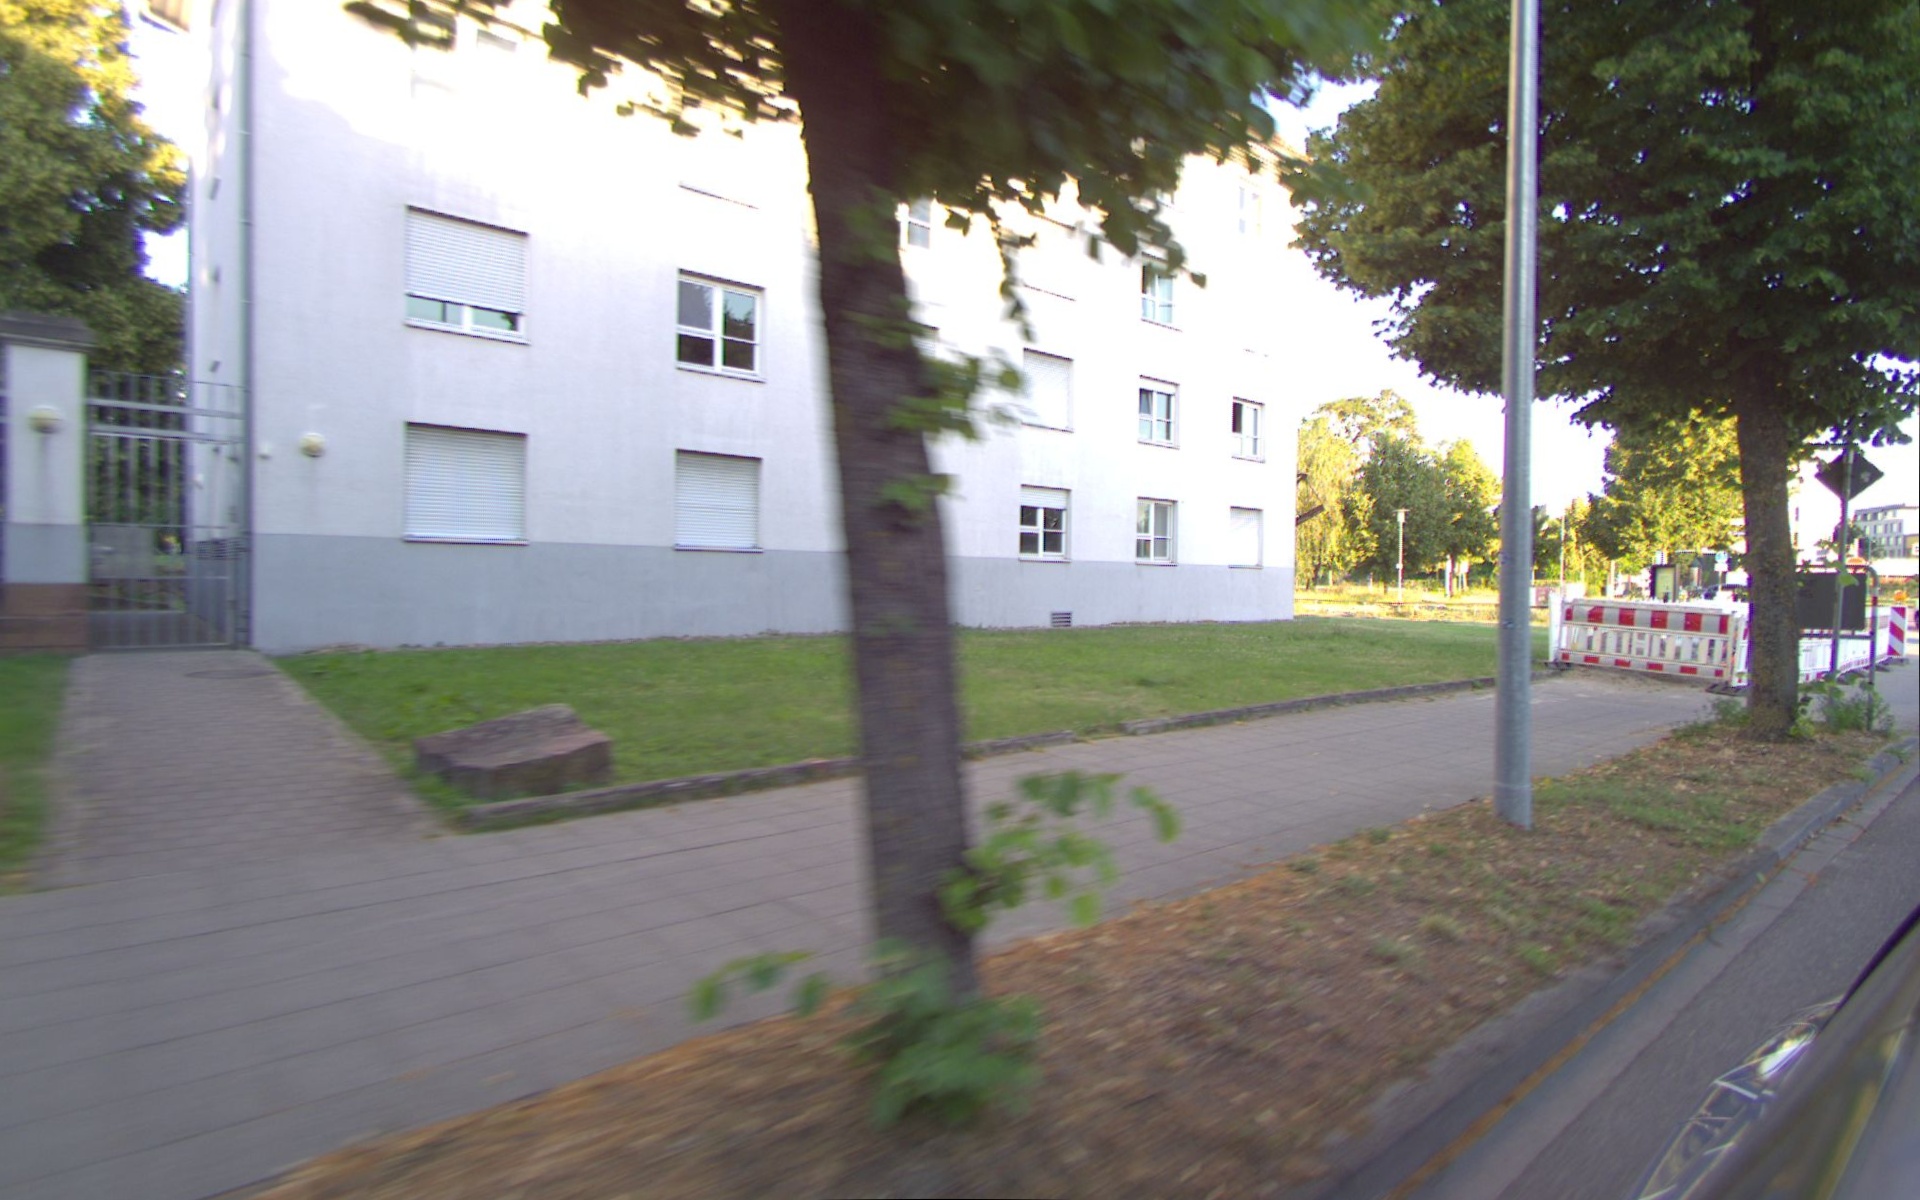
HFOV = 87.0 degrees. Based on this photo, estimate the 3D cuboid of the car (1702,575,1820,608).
[{"bbox_3d":[40.688,-0.464,51.511,1.754,1.576,4.419,-1,2,-22],"label":"car"}]
